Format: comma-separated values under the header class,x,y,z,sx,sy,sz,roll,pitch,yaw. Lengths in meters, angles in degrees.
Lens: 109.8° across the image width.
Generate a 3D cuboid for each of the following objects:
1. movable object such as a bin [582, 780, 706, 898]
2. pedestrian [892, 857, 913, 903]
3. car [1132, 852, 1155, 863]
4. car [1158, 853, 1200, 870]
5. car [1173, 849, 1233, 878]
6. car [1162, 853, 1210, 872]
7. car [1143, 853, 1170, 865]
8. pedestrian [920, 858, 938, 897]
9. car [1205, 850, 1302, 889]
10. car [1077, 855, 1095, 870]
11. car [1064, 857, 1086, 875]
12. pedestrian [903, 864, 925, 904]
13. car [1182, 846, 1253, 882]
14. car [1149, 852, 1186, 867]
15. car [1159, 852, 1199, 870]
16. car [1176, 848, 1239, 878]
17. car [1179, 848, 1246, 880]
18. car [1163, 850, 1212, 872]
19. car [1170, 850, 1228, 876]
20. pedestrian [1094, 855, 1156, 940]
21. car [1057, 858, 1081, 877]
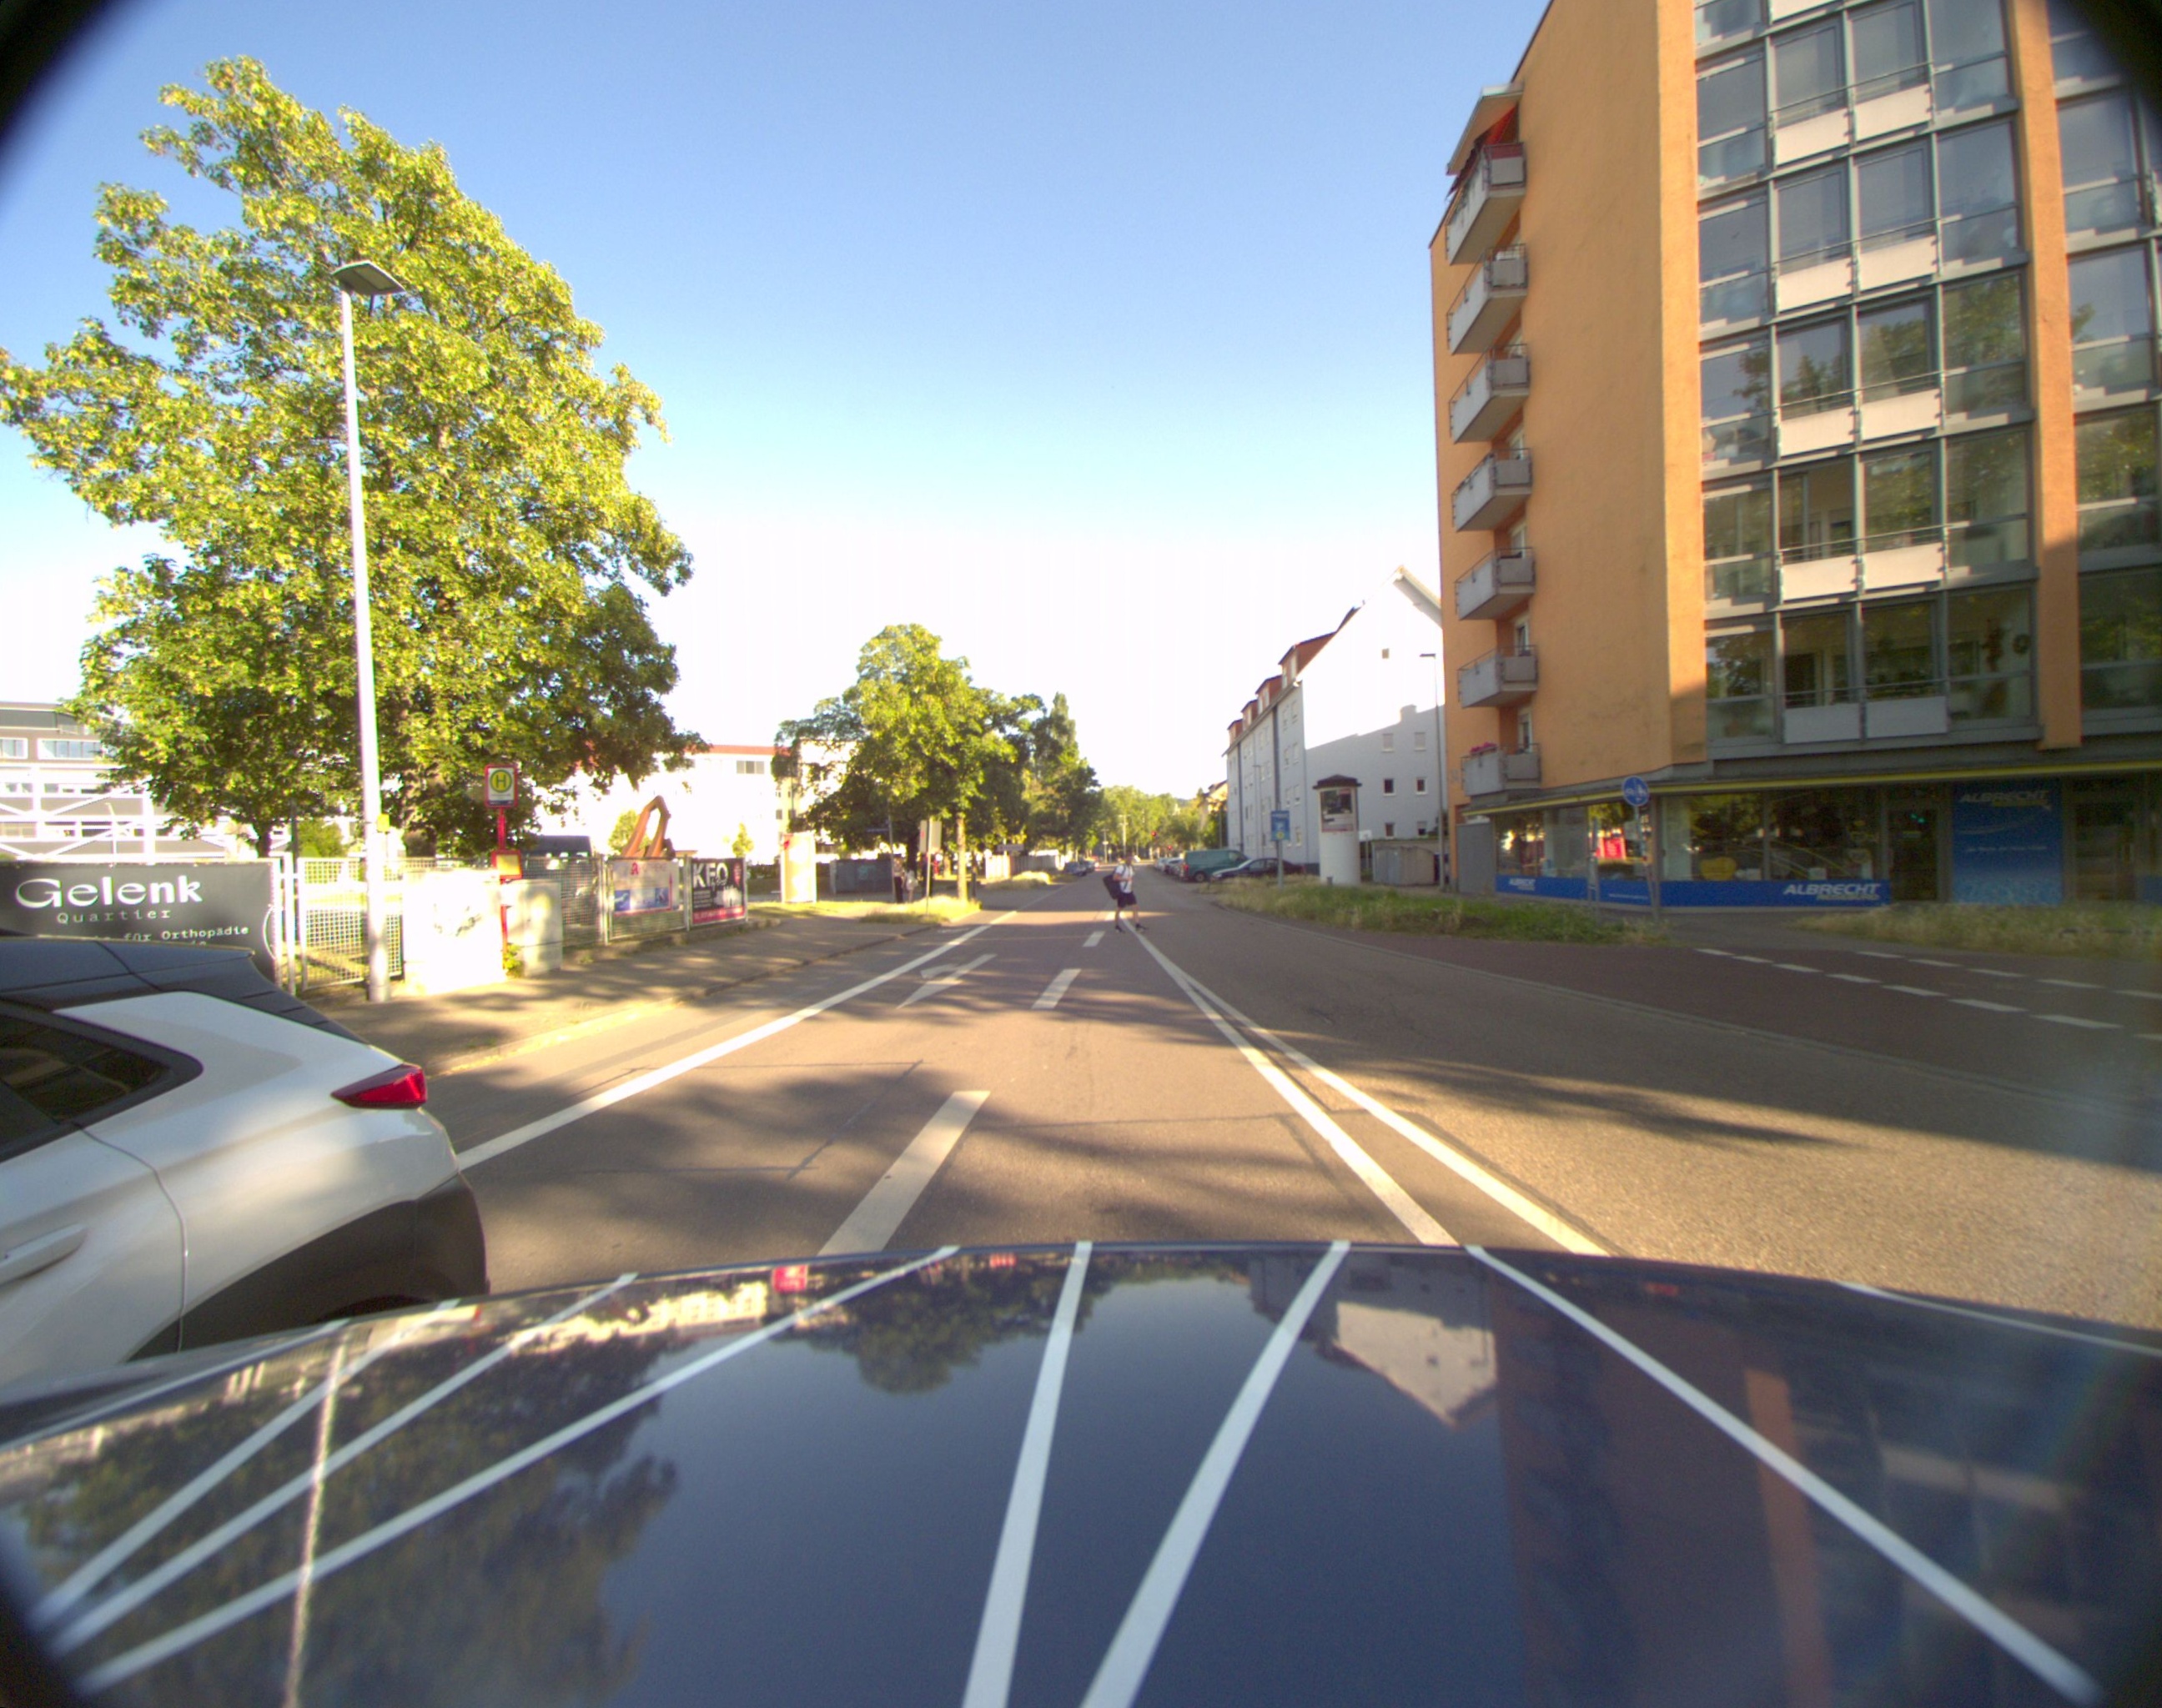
class,x,y,z,sx,sy,sz,roll,pitch,yaw
movable object such as a bin,-22.236,-0.701,38.546,3.986,5.447,6.016,-3,1,-42
pedestrian,-6.842,0.976,29.119,0.609,1.727,0.638,-2,1,-5
car,9.690,0.589,118.222,3.538,1.564,1.867,-2,1,5
car,10.298,0.756,79.930,4.257,1.564,1.867,-2,1,5
car,8.563,0.667,53.692,4.059,1.805,1.937,-2,1,5
car,9.559,0.773,69.373,4.257,1.564,1.867,-2,1,5
car,10.455,0.704,105.241,3.538,1.564,1.867,-2,1,5
pedestrian,-6.560,1.005,32.770,0.696,1.659,0.638,-2,1,-11
car,8.290,0.731,36.873,4.423,1.652,2.001,-2,1,9
car,0.558,0.951,87.975,1.998,1.521,3.999,-2,1,1
car,-0.596,1.151,73.942,1.998,1.521,3.999,-2,1,1
pedestrian,-6.251,1.117,28.498,0.609,1.426,0.639,-2,1,1
car,8.186,0.593,45.938,3.996,1.936,2.000,-2,1,4
car,10.213,0.645,90.189,4.257,1.564,1.867,-2,1,5
car,10.250,0.725,80.065,4.071,1.741,1.899,-2,1,5
car,8.492,0.587,51.342,3.995,1.805,2.000,-2,1,5
car,8.348,0.623,48.586,3.995,1.805,2.000,-2,1,5
car,9.265,0.608,66.487,4.117,1.762,1.757,-2,1,5
car,8.739,0.662,56.436,4.071,1.741,1.899,-2,1,5
pedestrian,0.939,0.894,16.367,0.903,1.727,1.086,-3,1,-21
car,-1.099,1.218,69.594,1.998,1.521,3.999,-2,1,1
